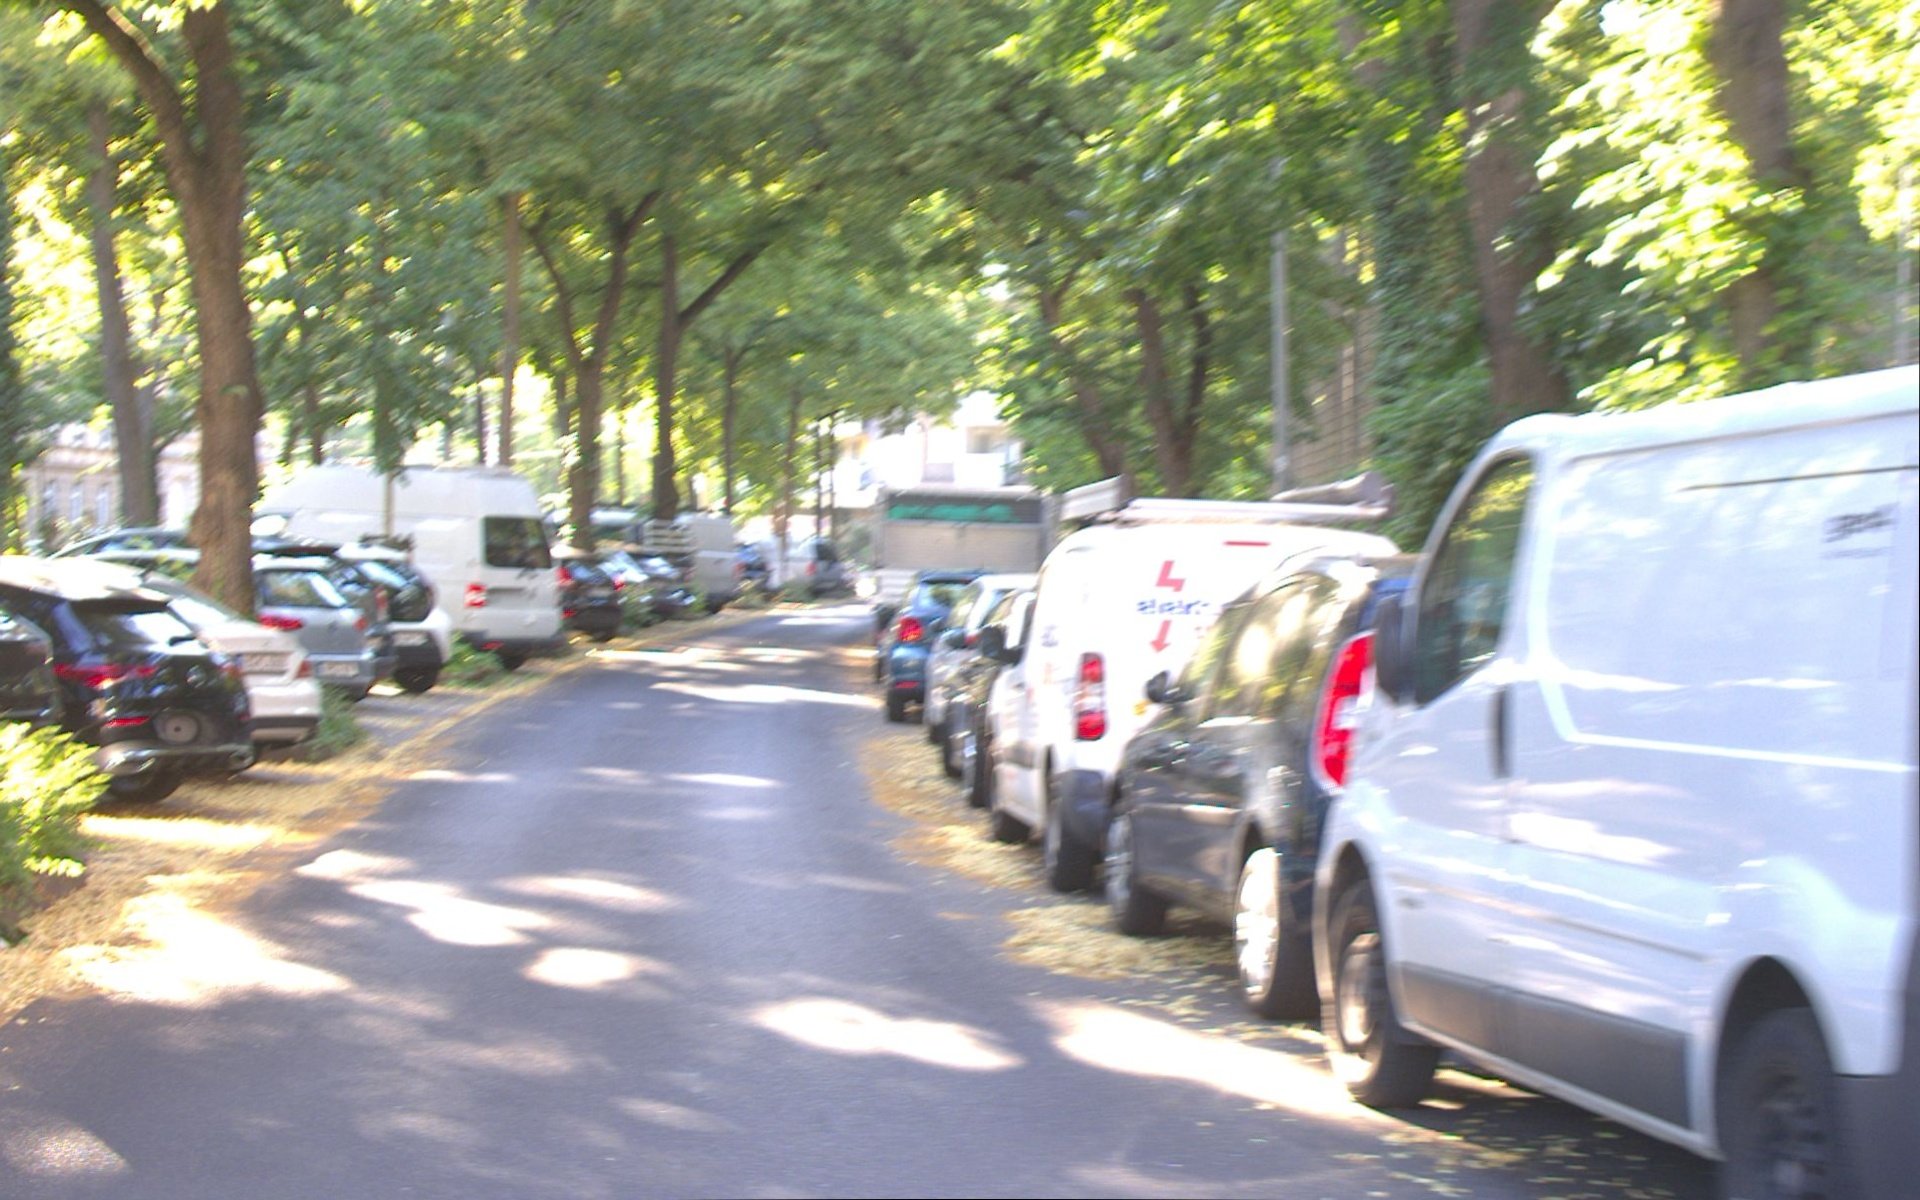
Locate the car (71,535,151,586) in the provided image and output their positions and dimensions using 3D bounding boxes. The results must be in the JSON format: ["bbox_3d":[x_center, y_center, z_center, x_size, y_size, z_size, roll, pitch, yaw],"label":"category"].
[{"bbox_3d":[-30.866,-1.442,125.137,1.711,1.814,4.000,0,1,3],"label":"car"}]

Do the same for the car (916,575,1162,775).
[{"bbox_3d":[0.571,0.549,27.514,1.571,1.462,3.601,0,1,-5],"label":"car"}]

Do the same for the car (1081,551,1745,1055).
[{"bbox_3d":[1.558,0.637,13.103,1.571,1.632,3.713,0,1,-8],"label":"car"}]

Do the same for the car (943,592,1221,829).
[{"bbox_3d":[0.735,0.670,22.676,1.571,1.381,3.601,0,1,-2],"label":"car"}]

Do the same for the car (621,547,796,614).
[{"bbox_3d":[-6.453,-0.502,88.045,4.086,1.468,1.816,4,0,30],"label":"car"}]

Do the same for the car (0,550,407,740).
[{"bbox_3d":[-6.990,0.363,30.063,3.820,1.416,1.736,4,0,18],"label":"car"}]

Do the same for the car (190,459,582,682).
[{"bbox_3d":[-7.091,-0.372,42.338,4.493,2.468,1.816,4,0,30],"label":"car"}]

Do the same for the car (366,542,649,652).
[{"bbox_3d":[-7.152,-0.046,54.254,4.086,1.468,1.816,4,0,30],"label":"car"}]

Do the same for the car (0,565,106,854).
[{"bbox_3d":[-6.774,0.467,18.502,3.820,1.491,1.736,4,0,18],"label":"car"}]

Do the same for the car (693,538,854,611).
[{"bbox_3d":[-5.232,-0.724,96.461,4.086,1.783,1.816,4,0,30],"label":"car"}]

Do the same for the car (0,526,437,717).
[{"bbox_3d":[-7.220,0.199,33.230,3.820,1.582,1.736,4,0,18],"label":"car"}]

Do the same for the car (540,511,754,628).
[{"bbox_3d":[-6.608,-0.652,72.555,4.086,2.202,1.816,4,0,30],"label":"car"}]

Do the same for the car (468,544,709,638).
[{"bbox_3d":[-6.901,-0.172,63.812,4.086,1.468,1.816,4,0,30],"label":"car"}]

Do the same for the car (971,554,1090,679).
[{"bbox_3d":[0.969,0.195,47.606,1.571,1.643,3.600,0,1,1],"label":"car"}]

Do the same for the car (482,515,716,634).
[{"bbox_3d":[-6.956,-0.492,66.242,4.086,2.033,1.816,4,0,30],"label":"car"}]

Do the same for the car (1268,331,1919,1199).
[{"bbox_3d":[2.291,0.494,8.397,1.943,1.996,4.661,0,1,-9],"label":"car"}]

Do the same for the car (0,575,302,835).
[{"bbox_3d":[-6.147,0.536,20.799,3.820,1.386,1.736,4,0,18],"label":"car"}]

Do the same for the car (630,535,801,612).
[{"bbox_3d":[-6.474,-0.704,90.929,4.086,1.783,1.816,4,0,30],"label":"car"}]

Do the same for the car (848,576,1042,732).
[{"bbox_3d":[-0.194,0.481,33.083,1.571,1.380,3.601,0,1,-5],"label":"car"}]

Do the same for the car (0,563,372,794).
[{"bbox_3d":[-6.235,0.476,23.825,3.820,1.386,1.736,4,0,18],"label":"car"}]

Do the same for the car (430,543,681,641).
[{"bbox_3d":[-7.205,-0.148,61.144,4.086,1.468,1.816,4,0,30],"label":"car"}]

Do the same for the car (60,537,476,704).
[{"bbox_3d":[-7.202,0.211,35.828,3.820,1.476,1.736,4,0,18],"label":"car"}]

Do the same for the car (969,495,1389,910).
[{"bbox_3d":[1.013,0.446,17.724,1.571,1.897,3.903,0,1,-5],"label":"car"}]

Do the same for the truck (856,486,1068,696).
[{"bbox_3d":[-0.007,-0.136,40.945,2.366,2.344,4.384,0,1,-1],"label":"truck"}]
